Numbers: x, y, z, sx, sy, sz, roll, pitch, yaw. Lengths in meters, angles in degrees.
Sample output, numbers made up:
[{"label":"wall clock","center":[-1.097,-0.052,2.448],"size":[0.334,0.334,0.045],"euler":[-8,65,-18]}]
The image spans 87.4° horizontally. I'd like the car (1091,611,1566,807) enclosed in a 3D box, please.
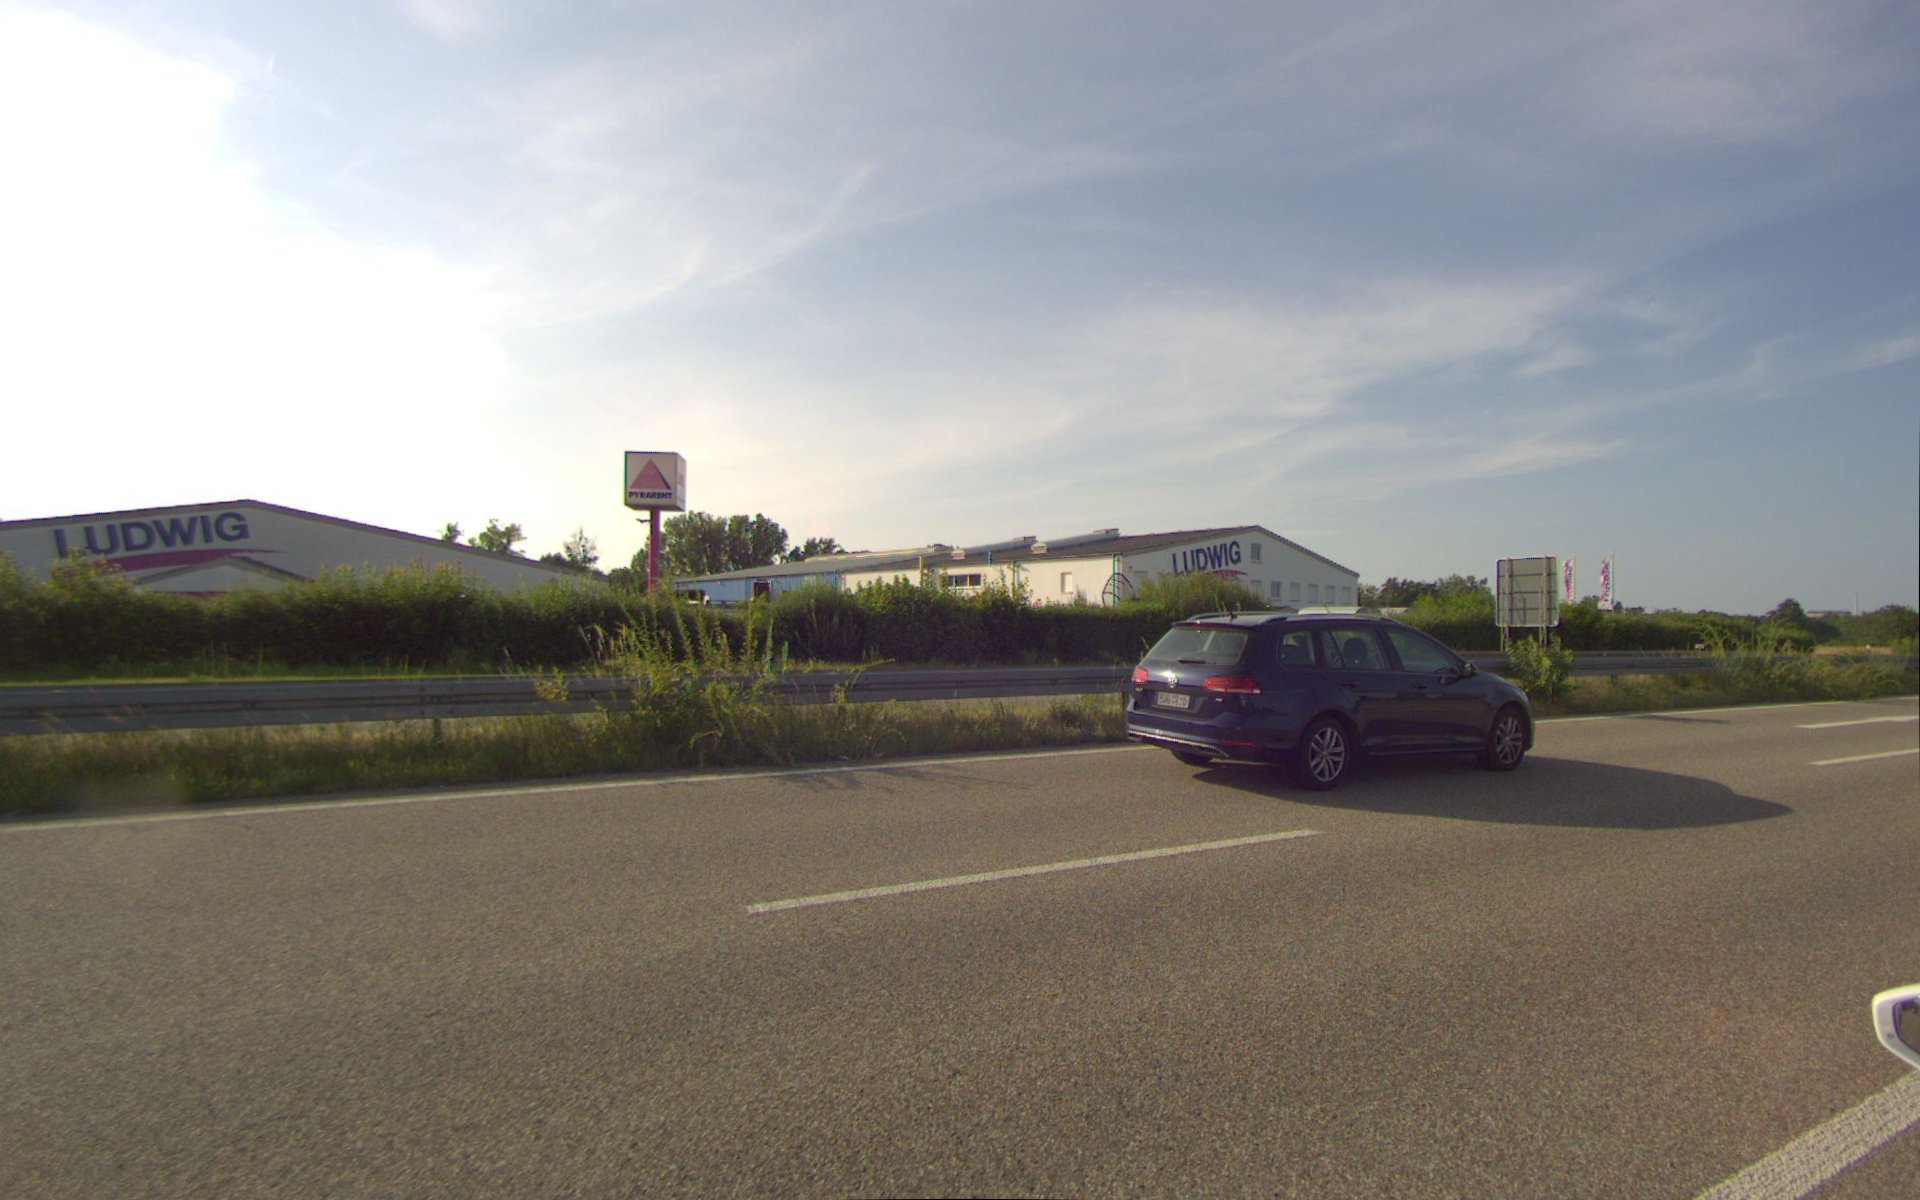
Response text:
[{"label":"car","center":[3.624,0.890,9.562],"size":[4.720,1.490,1.638],"euler":[1,-1,-30]}]
